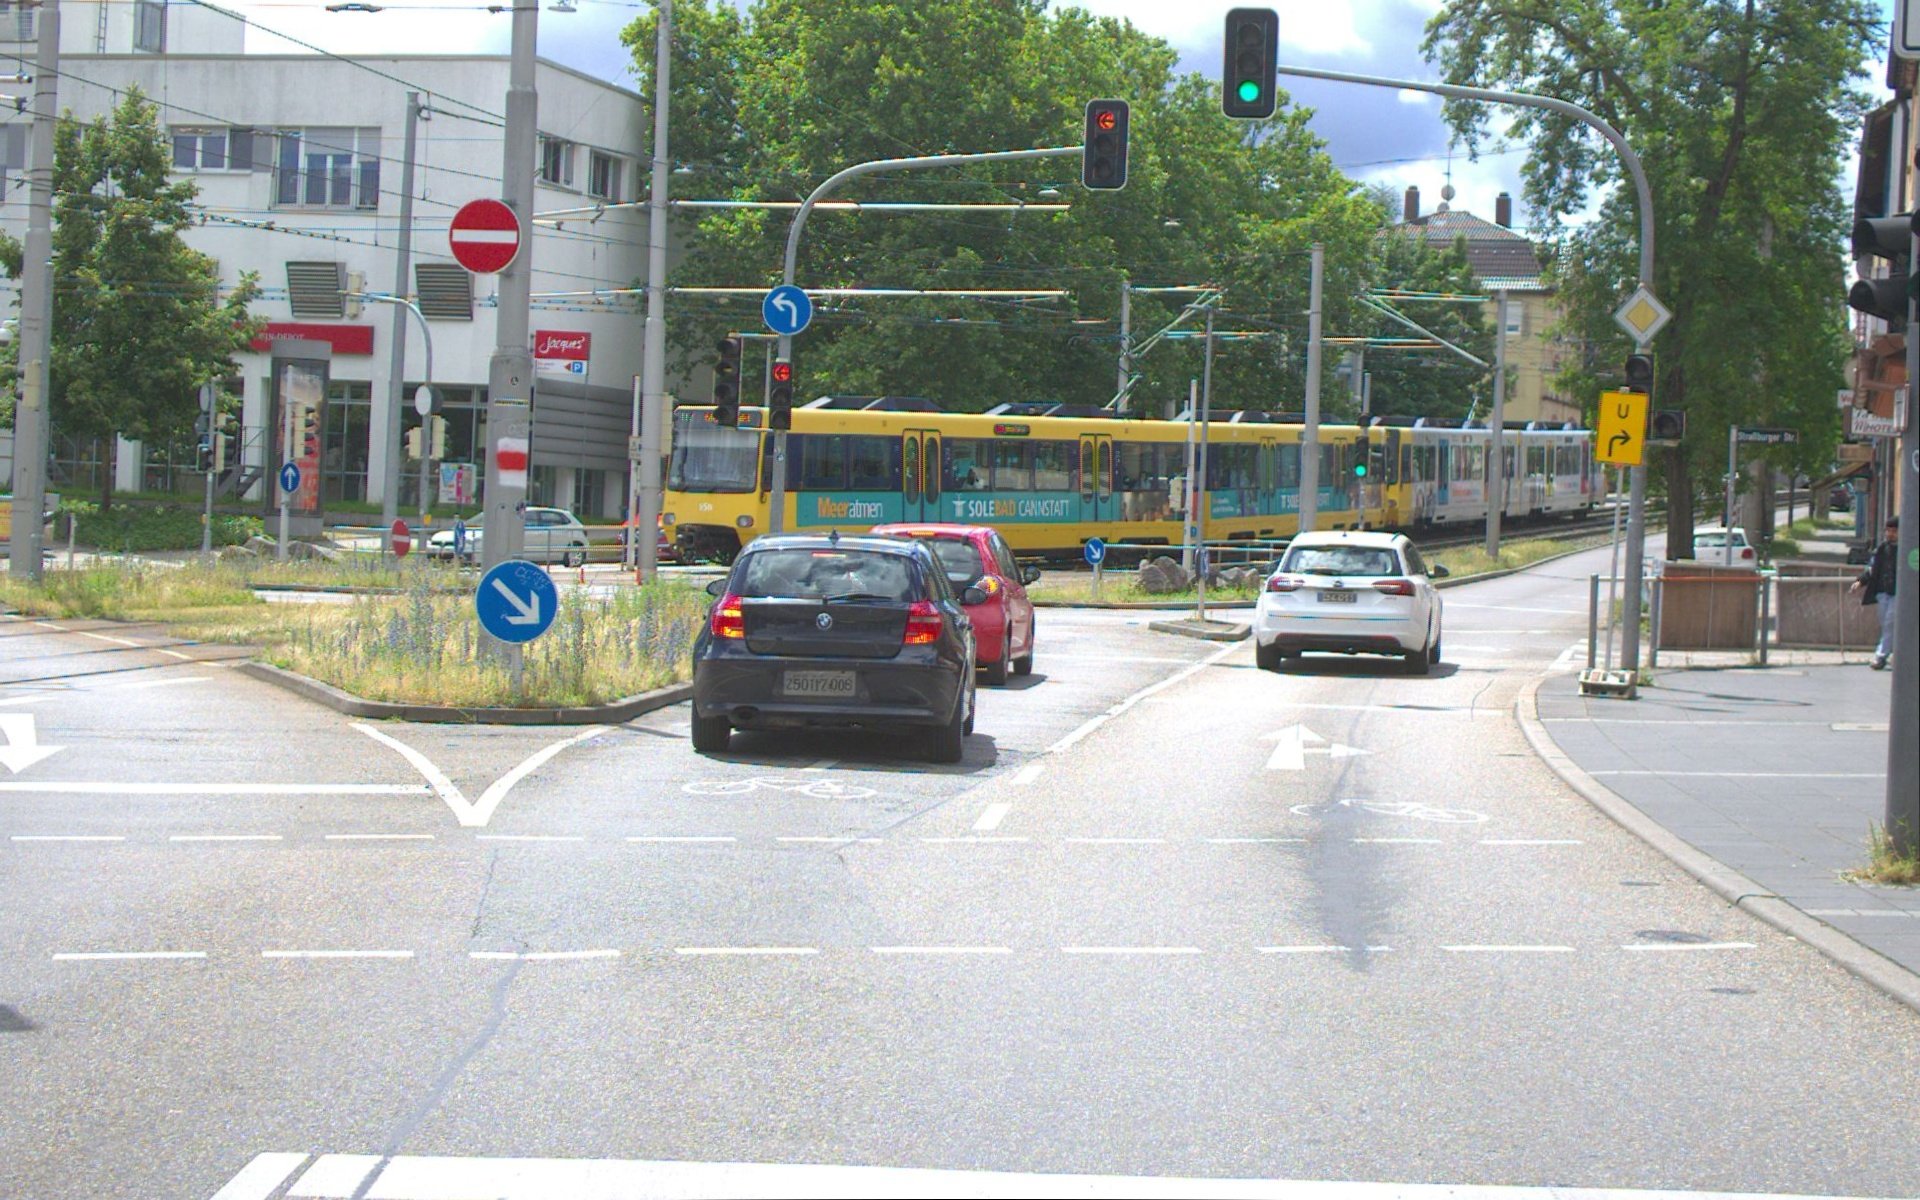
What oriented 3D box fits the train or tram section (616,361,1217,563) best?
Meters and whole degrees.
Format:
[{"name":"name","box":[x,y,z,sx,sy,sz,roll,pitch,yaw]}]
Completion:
[{"name":"train or tram section","box":[-0.380,-2.884,78.010,3.756,3.905,18.860,1,1,33]}]

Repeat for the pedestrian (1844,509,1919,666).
[{"name":"pedestrian","box":[9.870,-0.140,36.751,0.764,1.637,0.777,1,2,13]}]

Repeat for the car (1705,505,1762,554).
[{"name":"car","box":[30.155,-2.761,133.954,1.912,1.851,3.735,2,2,16]}]

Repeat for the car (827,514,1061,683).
[{"name":"car","box":[-0.090,-0.065,32.746,1.625,1.468,3.999,2,2,8]}]

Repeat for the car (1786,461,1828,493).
[{"name":"car","box":[55.895,-8.126,226.779,1.996,2.007,3.995,1,1,23]}]

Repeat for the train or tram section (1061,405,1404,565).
[{"name":"train or tram section","box":[7.916,-2.947,94.504,3.753,3.816,20.127,1,1,21]}]

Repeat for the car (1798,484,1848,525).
[{"name":"car","box":[40.853,-4.517,162.771,2.125,1.851,3.735,2,2,16]}]

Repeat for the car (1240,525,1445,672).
[{"name":"car","box":[4.218,-0.058,37.463,1.816,1.463,3.998,1,2,12]}]

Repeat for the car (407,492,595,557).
[{"name":"car","box":[-10.540,-1.727,79.077,1.888,1.412,3.990,1,1,42]}]

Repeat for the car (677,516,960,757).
[{"name":"car","box":[-0.883,0.202,22.905,1.701,1.447,4.000,1,1,-1]}]

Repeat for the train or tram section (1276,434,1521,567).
[{"name":"train or tram section","box":[14.751,-3.102,113.150,3.753,3.866,20.615,1,1,19]}]

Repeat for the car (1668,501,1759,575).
[{"name":"car","box":[16.870,-1.365,76.876,1.788,1.590,3.997,1,1,15]}]
